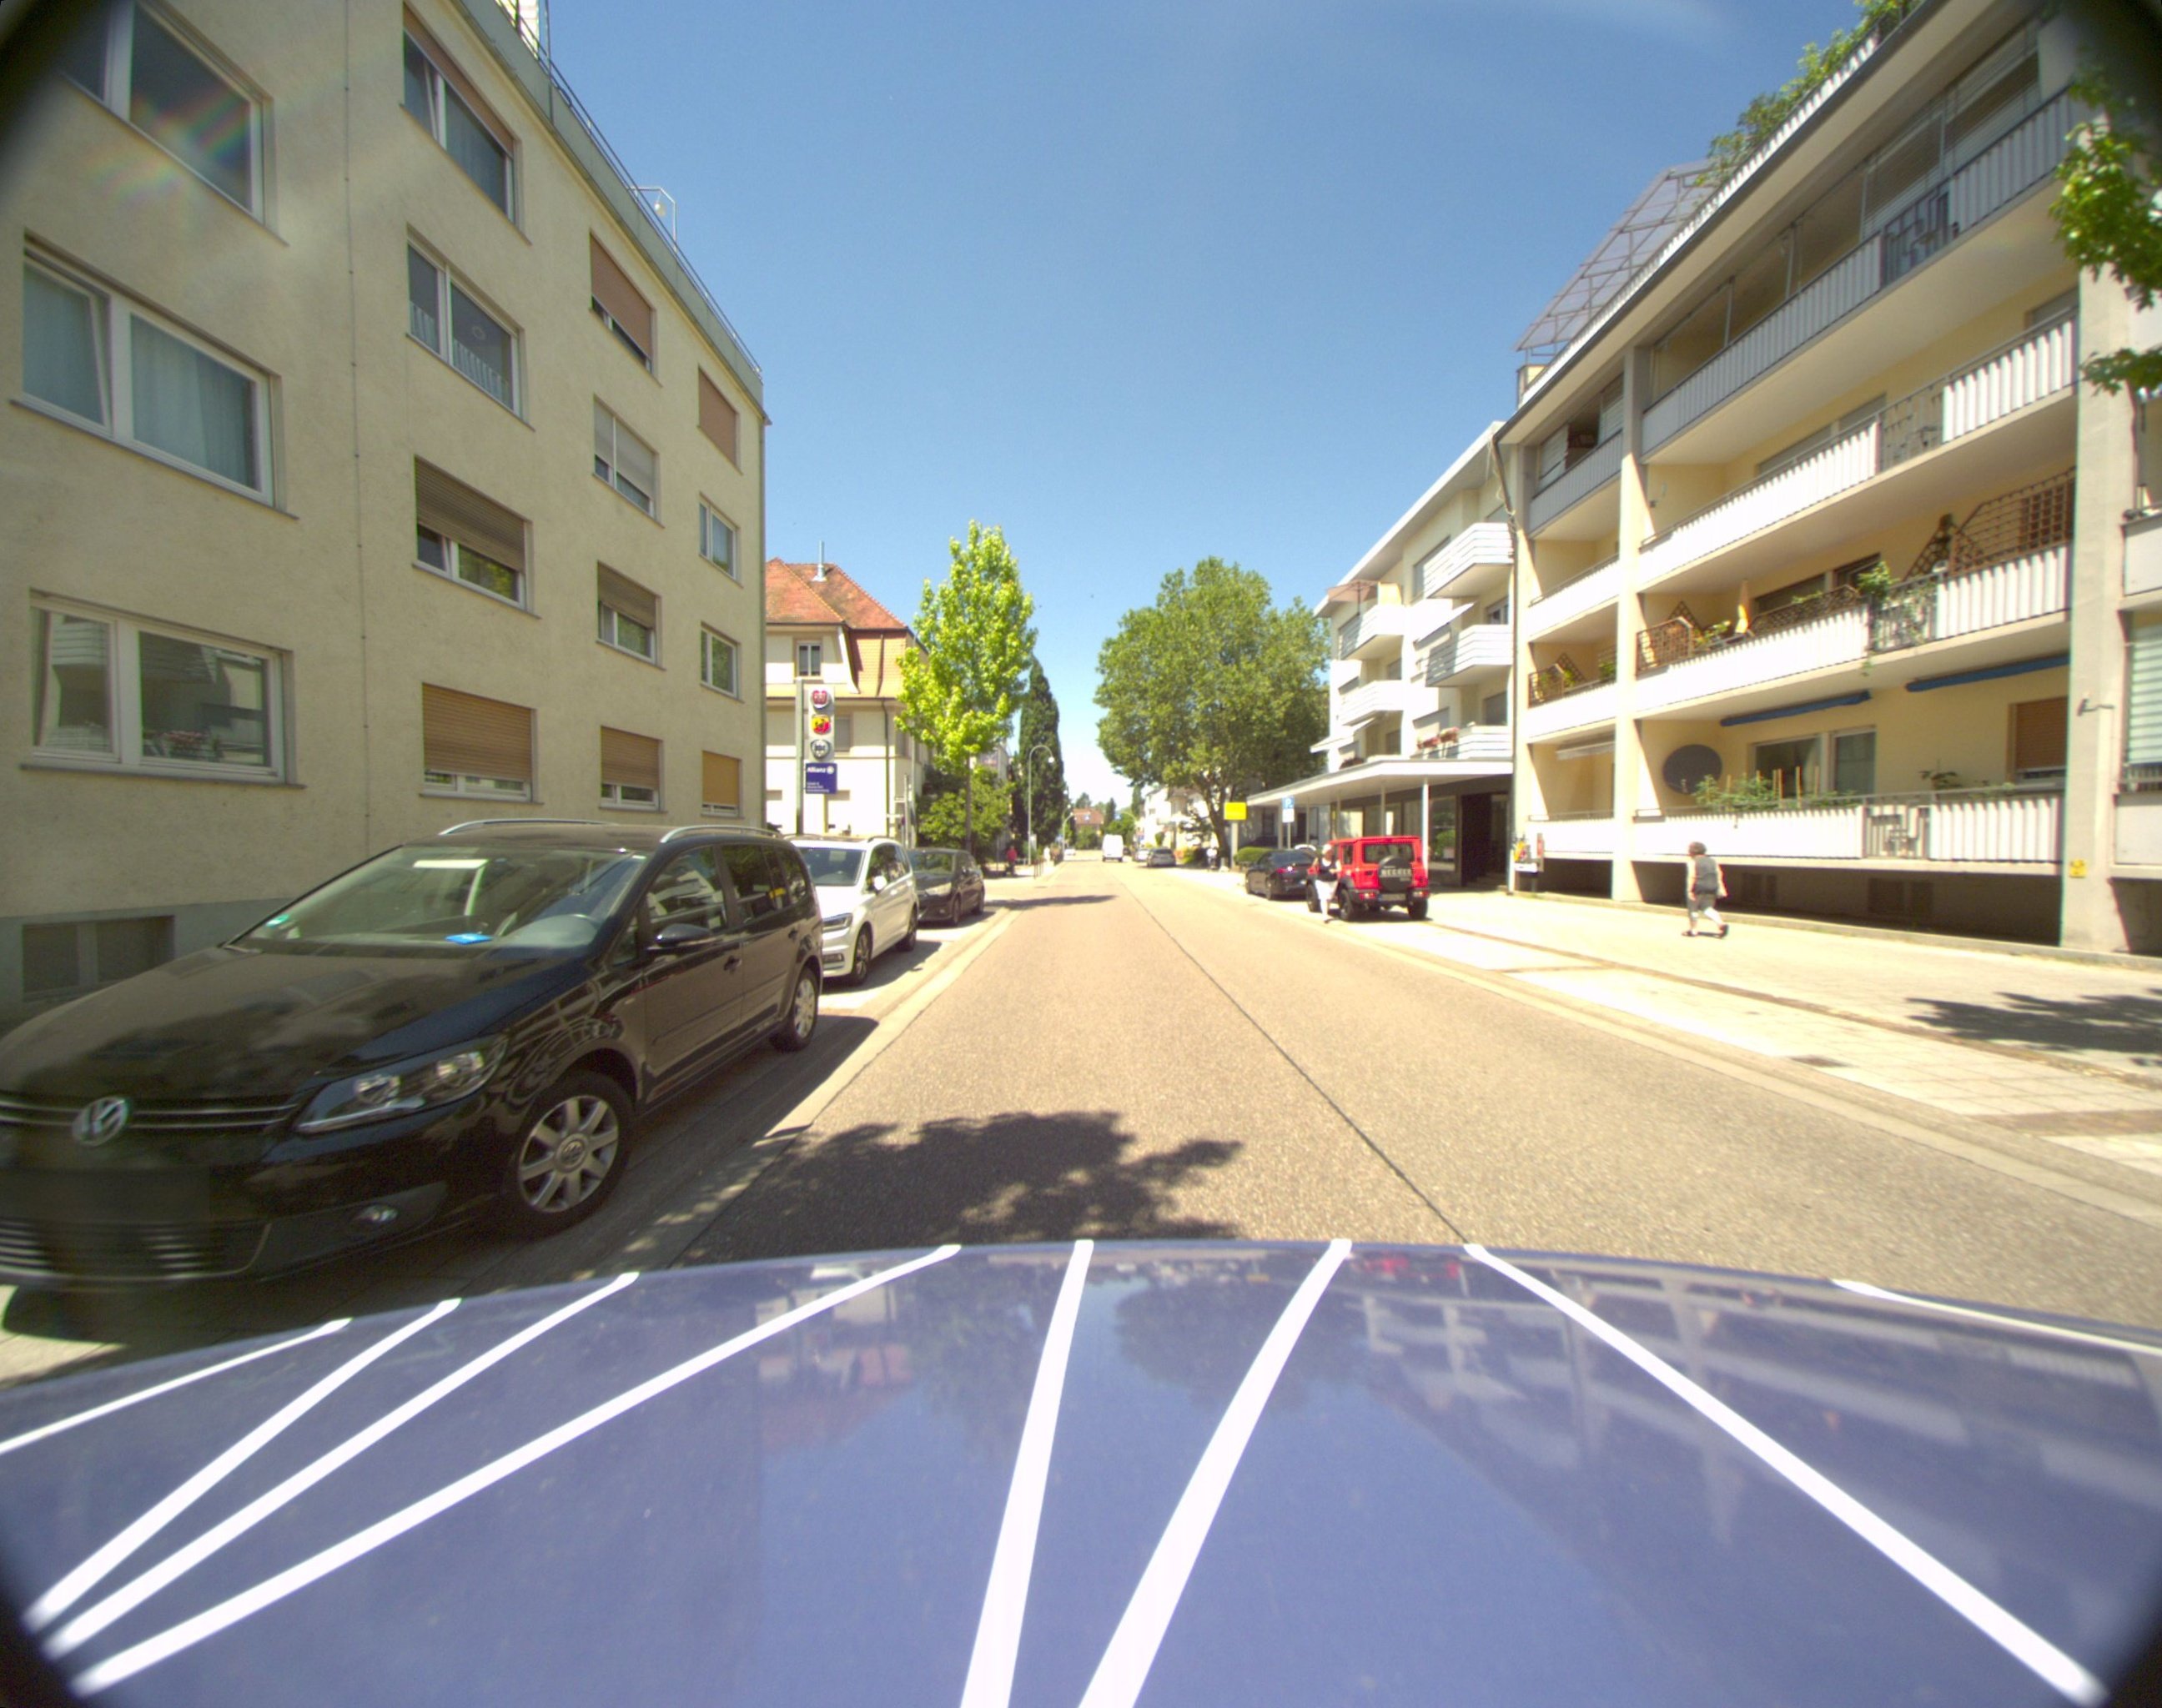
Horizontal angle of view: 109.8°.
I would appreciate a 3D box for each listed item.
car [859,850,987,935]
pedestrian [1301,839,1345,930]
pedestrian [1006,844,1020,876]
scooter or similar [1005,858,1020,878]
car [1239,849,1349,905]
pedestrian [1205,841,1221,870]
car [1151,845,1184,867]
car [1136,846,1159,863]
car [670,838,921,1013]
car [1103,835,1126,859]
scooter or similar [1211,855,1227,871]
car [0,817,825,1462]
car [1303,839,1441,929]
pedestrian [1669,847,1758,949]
[{"bbox_3d":[-3.079,0.678,15.639,1.692,1.479,4.133,0,1,1],"label":"car"},{"bbox_3d":[4.844,0.602,15.257,0.685,1.794,0.668,0,1,2],"label":"pedestrian"},{"bbox_3d":[-3.350,0.287,37.394,0.625,1.597,0.735,0,1,-2],"label":"pedestrian"},{"bbox_3d":[-3.302,0.662,36.658,0.625,0.927,0.735,0,1,-2],"label":"scooter or similar"},{"bbox_3d":[6.150,0.605,22.438,1.999,1.455,3.999,-1,1,-2],"label":"car"},{"bbox_3d":[8.119,0.090,46.786,0.639,1.782,0.742,-1,1,-22],"label":"pedestrian"},{"bbox_3d":[6.157,0.126,54.688,1.998,1.499,4.000,0,1,1],"label":"car"},{"bbox_3d":[6.494,0.040,74.506,1.998,1.630,3.999,0,1,0],"label":"car"},{"bbox_3d":[-3.226,0.677,9.513,1.693,1.712,4.132,0,1,-2],"label":"car"},{"bbox_3d":[3.361,-0.720,77.644,2.231,2.452,5.248,0,1,1],"label":"car"},{"bbox_3d":[8.339,0.529,45.915,0.639,0.920,0.742,-1,1,-22],"label":"scooter or similar"},{"bbox_3d":[-2.823,0.754,4.016,1.693,1.712,3.998,2,0,-3],"label":"car"},{"bbox_3d":[6.052,0.562,16.177,1.644,1.652,3.370,-2,1,1],"label":"car"},{"bbox_3d":[9.510,0.637,11.454,0.778,1.490,0.698,0,1,12],"label":"pedestrian"}]
